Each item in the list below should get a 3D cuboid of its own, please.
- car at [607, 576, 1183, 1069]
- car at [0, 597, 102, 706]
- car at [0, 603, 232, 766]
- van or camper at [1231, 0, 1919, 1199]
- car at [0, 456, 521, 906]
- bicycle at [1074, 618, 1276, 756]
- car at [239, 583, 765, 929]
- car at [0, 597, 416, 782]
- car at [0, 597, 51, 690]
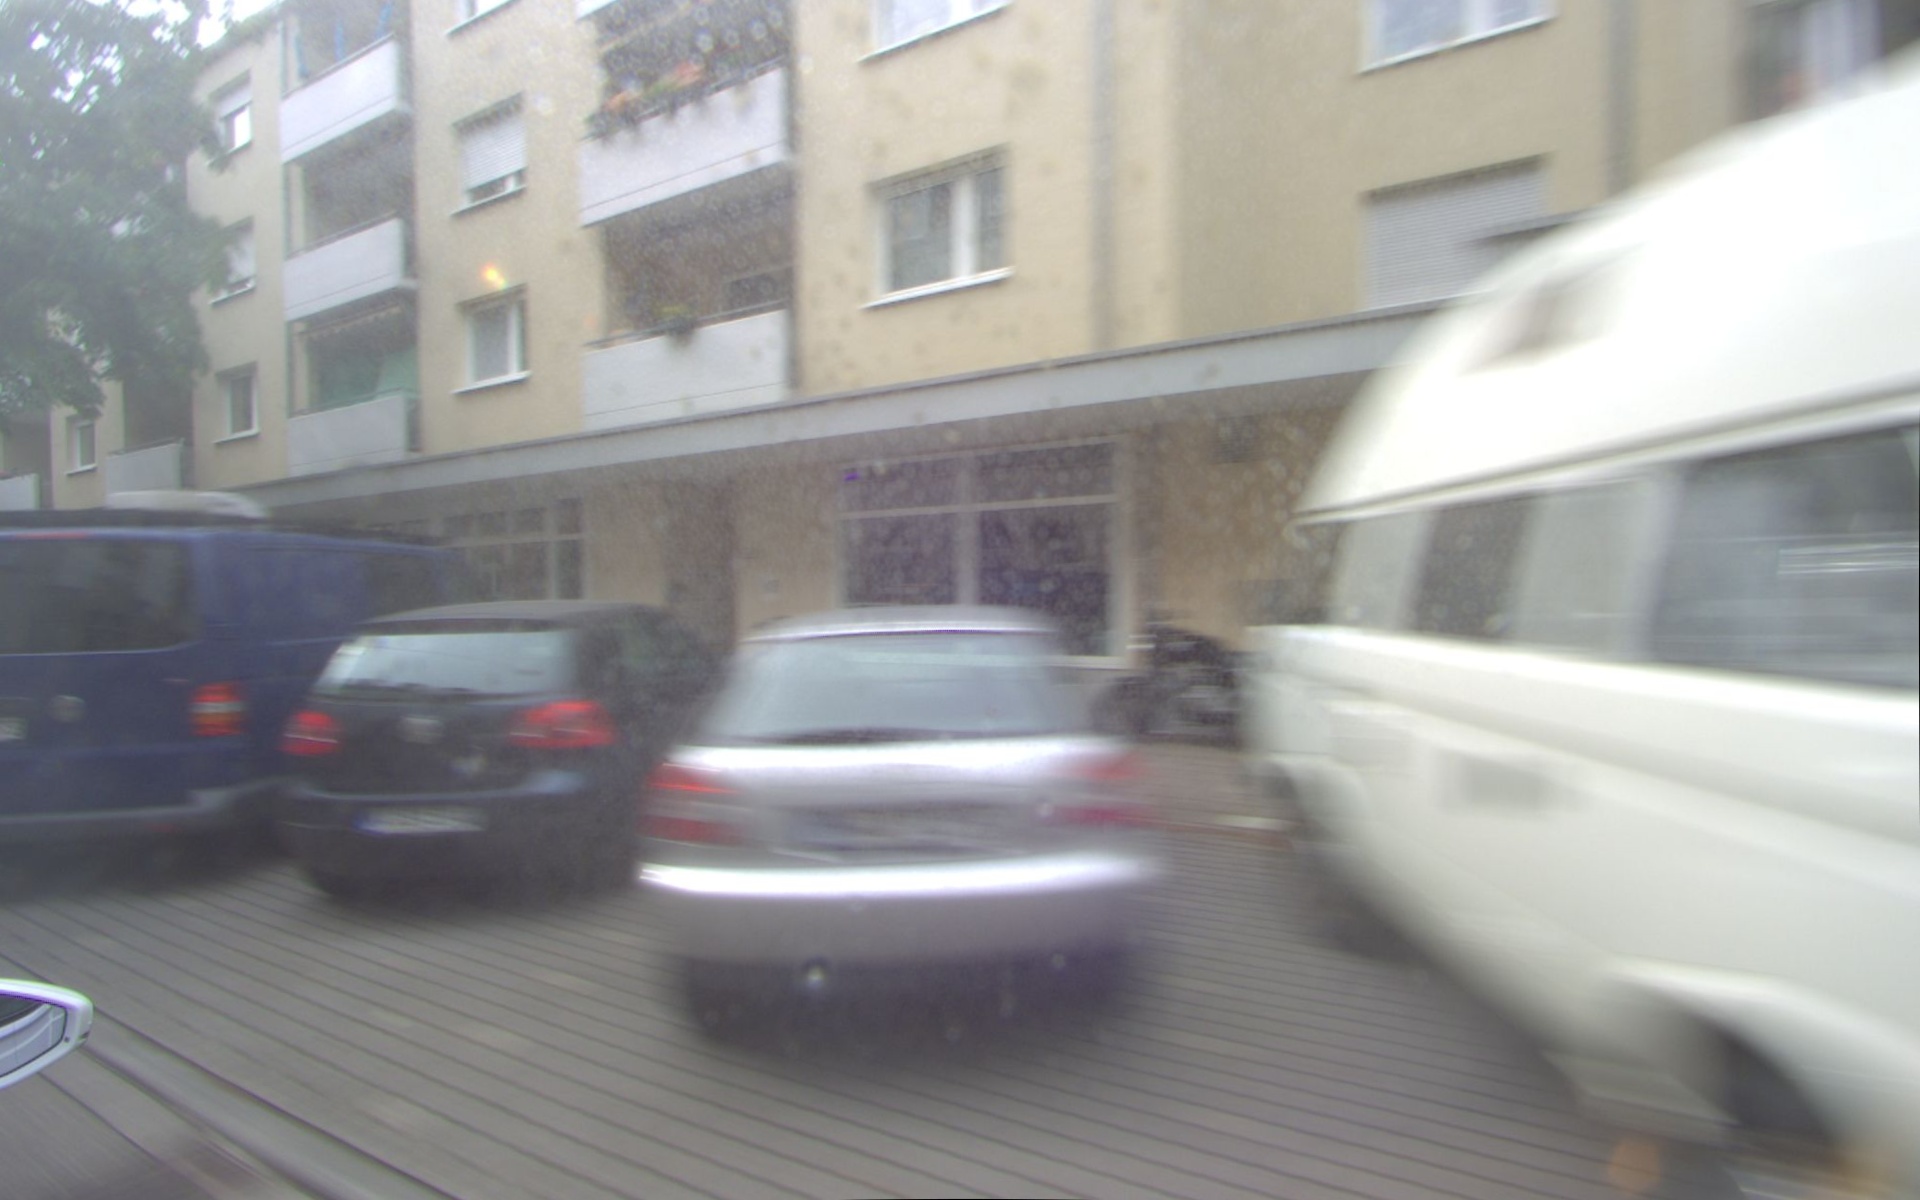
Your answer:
[{"bbox_3d":[-0.180,0.625,4.882,1.691,1.437,3.814,0,2,0],"label":"car"},{"bbox_3d":[-14.446,0.762,13.938,1.817,1.517,3.367,-1,1,10],"label":"car"},{"bbox_3d":[-9.836,0.782,10.475,1.817,1.461,4.111,-1,0,-8],"label":"car"},{"bbox_3d":[2.343,0.142,2.877,1.874,2.630,4.596,0,0,0],"label":"van or camper"},{"bbox_3d":[-4.992,0.333,7.264,2.028,2.227,4.701,-1,2,-8],"label":"car"},{"bbox_3d":[1.876,0.732,8.861,1.678,1.105,0.483,-1,2,35],"label":"bicycle"},{"bbox_3d":[-2.416,0.680,6.360,1.656,1.501,3.665,0,2,-1],"label":"car"},{"bbox_3d":[-7.524,0.726,10.056,1.789,1.485,3.913,-1,0,3],"label":"car"},{"bbox_3d":[-16.916,0.772,15.315,1.937,1.521,4.224,-1,1,5],"label":"car"}]
